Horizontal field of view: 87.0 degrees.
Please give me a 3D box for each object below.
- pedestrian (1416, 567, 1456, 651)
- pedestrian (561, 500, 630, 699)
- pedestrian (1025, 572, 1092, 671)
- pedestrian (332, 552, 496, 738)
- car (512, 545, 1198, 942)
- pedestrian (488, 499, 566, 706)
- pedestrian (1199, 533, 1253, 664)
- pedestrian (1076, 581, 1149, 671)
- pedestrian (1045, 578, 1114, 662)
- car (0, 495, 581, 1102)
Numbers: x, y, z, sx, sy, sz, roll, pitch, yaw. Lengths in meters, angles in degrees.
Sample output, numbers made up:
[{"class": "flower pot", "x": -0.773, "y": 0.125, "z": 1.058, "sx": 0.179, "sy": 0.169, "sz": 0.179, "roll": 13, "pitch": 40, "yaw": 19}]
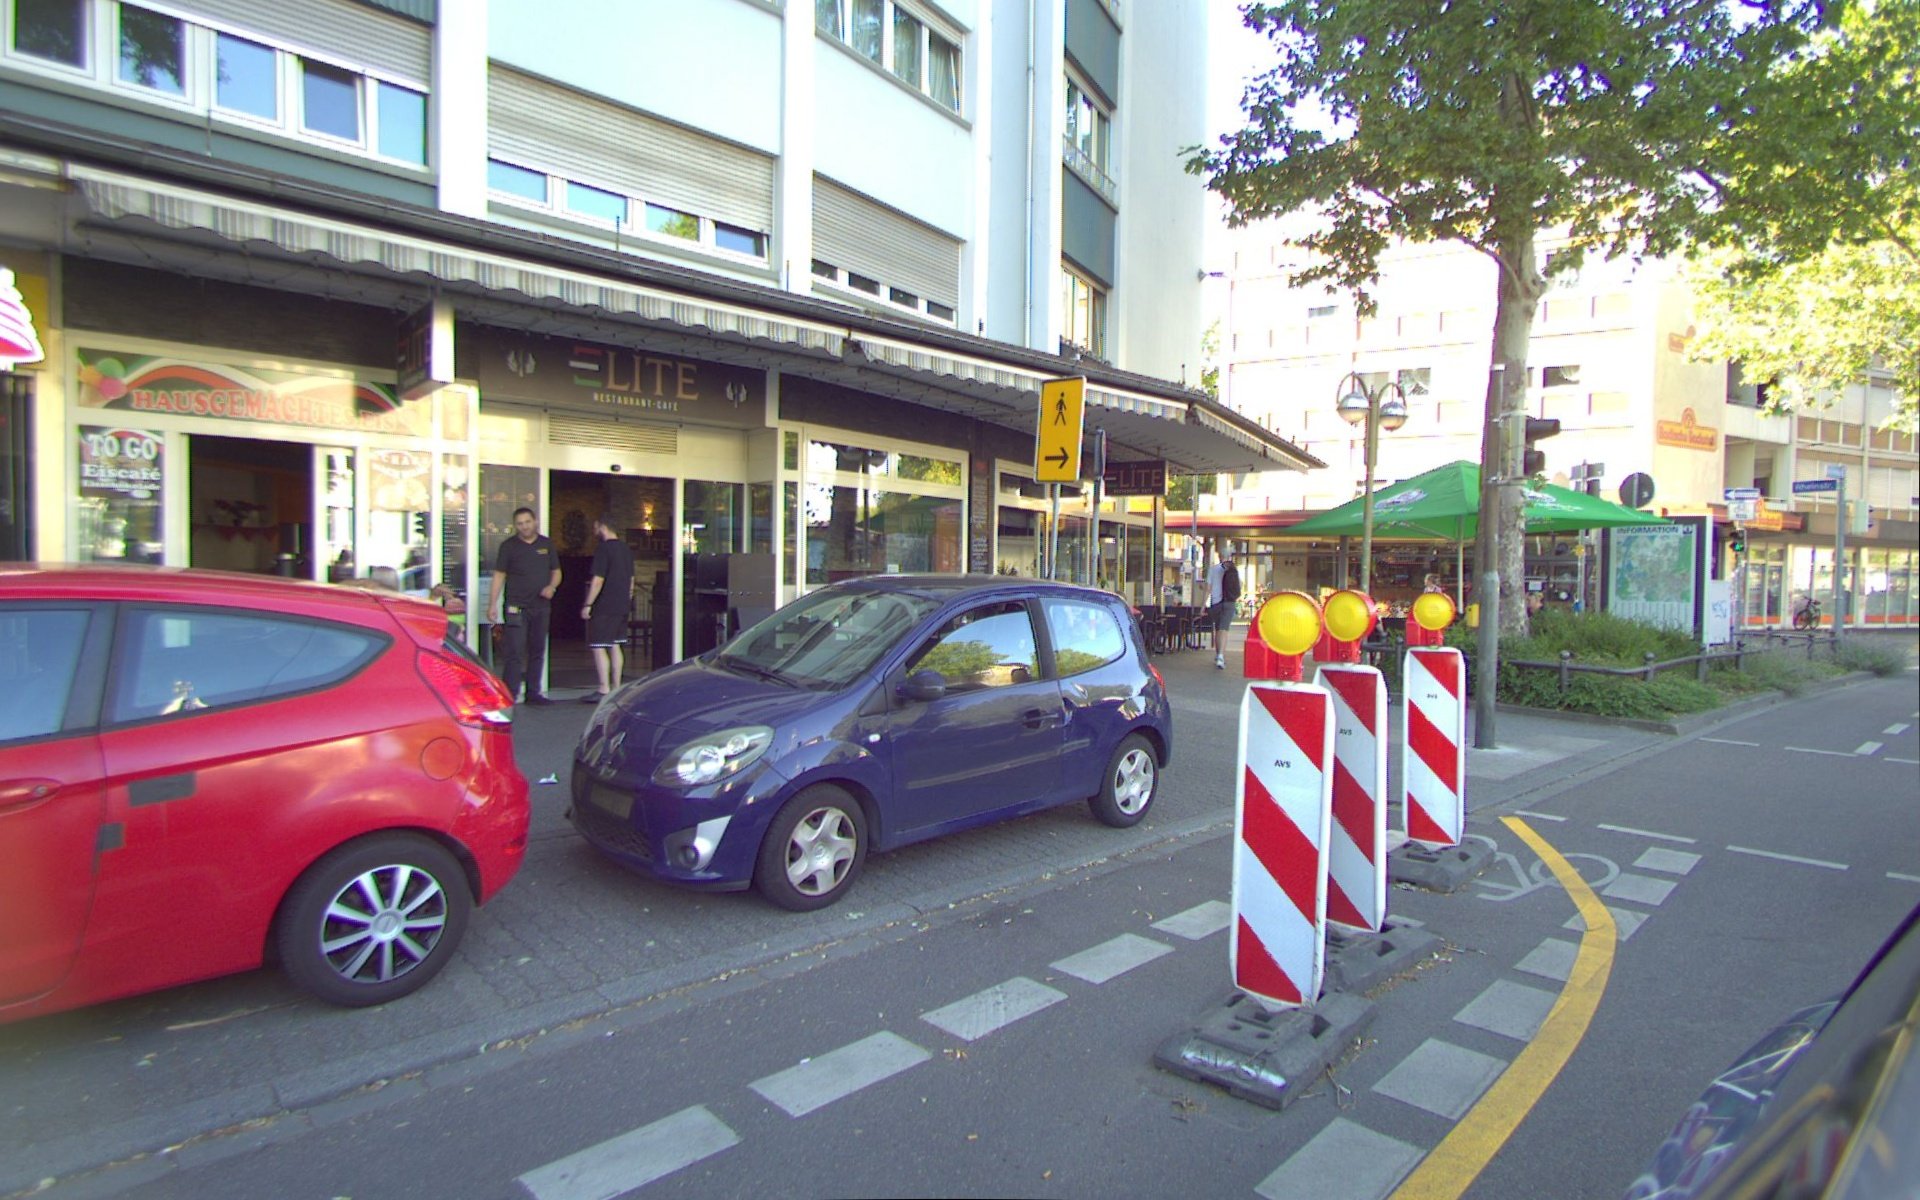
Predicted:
[{"class": "pedestrian", "x": 9.578, "y": 0.167, "z": 20.370, "sx": 0.624, "sy": 1.657, "sz": 0.525, "roll": 2, "pitch": 1, "yaw": 34}, {"class": "pedestrian", "x": -3.374, "y": -0.014, "z": 9.395, "sx": 0.545, "sy": 1.803, "sz": 0.397, "roll": 1, "pitch": 3, "yaw": -11}, {"class": "pedestrian", "x": 1.352, "y": 0.278, "z": 14.026, "sx": 0.685, "sy": 1.323, "sz": 0.793, "roll": 1, "pitch": 1, "yaw": -13}, {"class": "pedestrian", "x": -4.353, "y": 0.306, "z": 8.054, "sx": 0.937, "sy": 1.352, "sz": 1.069, "roll": 0, "pitch": 2, "yaw": -42}, {"class": "car", "x": -0.420, "y": 0.512, "z": 5.817, "sx": 3.551, "sy": 1.485, "sz": 1.769, "roll": -1, "pitch": 5, "yaw": -44}, {"class": "pedestrian", "x": -3.891, "y": 0.004, "z": 9.103, "sx": 0.547, "sy": 1.800, "sz": 0.395, "roll": -1, "pitch": 4, "yaw": -43}, {"class": "pedestrian", "x": 4.190, "y": -0.040, "z": 15.934, "sx": 0.642, "sy": 1.983, "sz": 0.882, "roll": 1, "pitch": 1, "yaw": 25}, {"class": "pedestrian", "x": 2.157, "y": 0.349, "z": 14.350, "sx": 0.685, "sy": 1.207, "sz": 0.881, "roll": 0, "pitch": 1, "yaw": -18}, {"class": "pedestrian", "x": 1.788, "y": 0.288, "z": 15.155, "sx": 0.776, "sy": 1.207, "sz": 0.648, "roll": 0, "pitch": 2, "yaw": -34}, {"class": "car", "x": -3.384, "y": 0.474, "z": 3.092, "sx": 3.761, "sy": 1.614, "sz": 1.784, "roll": -1, "pitch": 5, "yaw": -45}]
